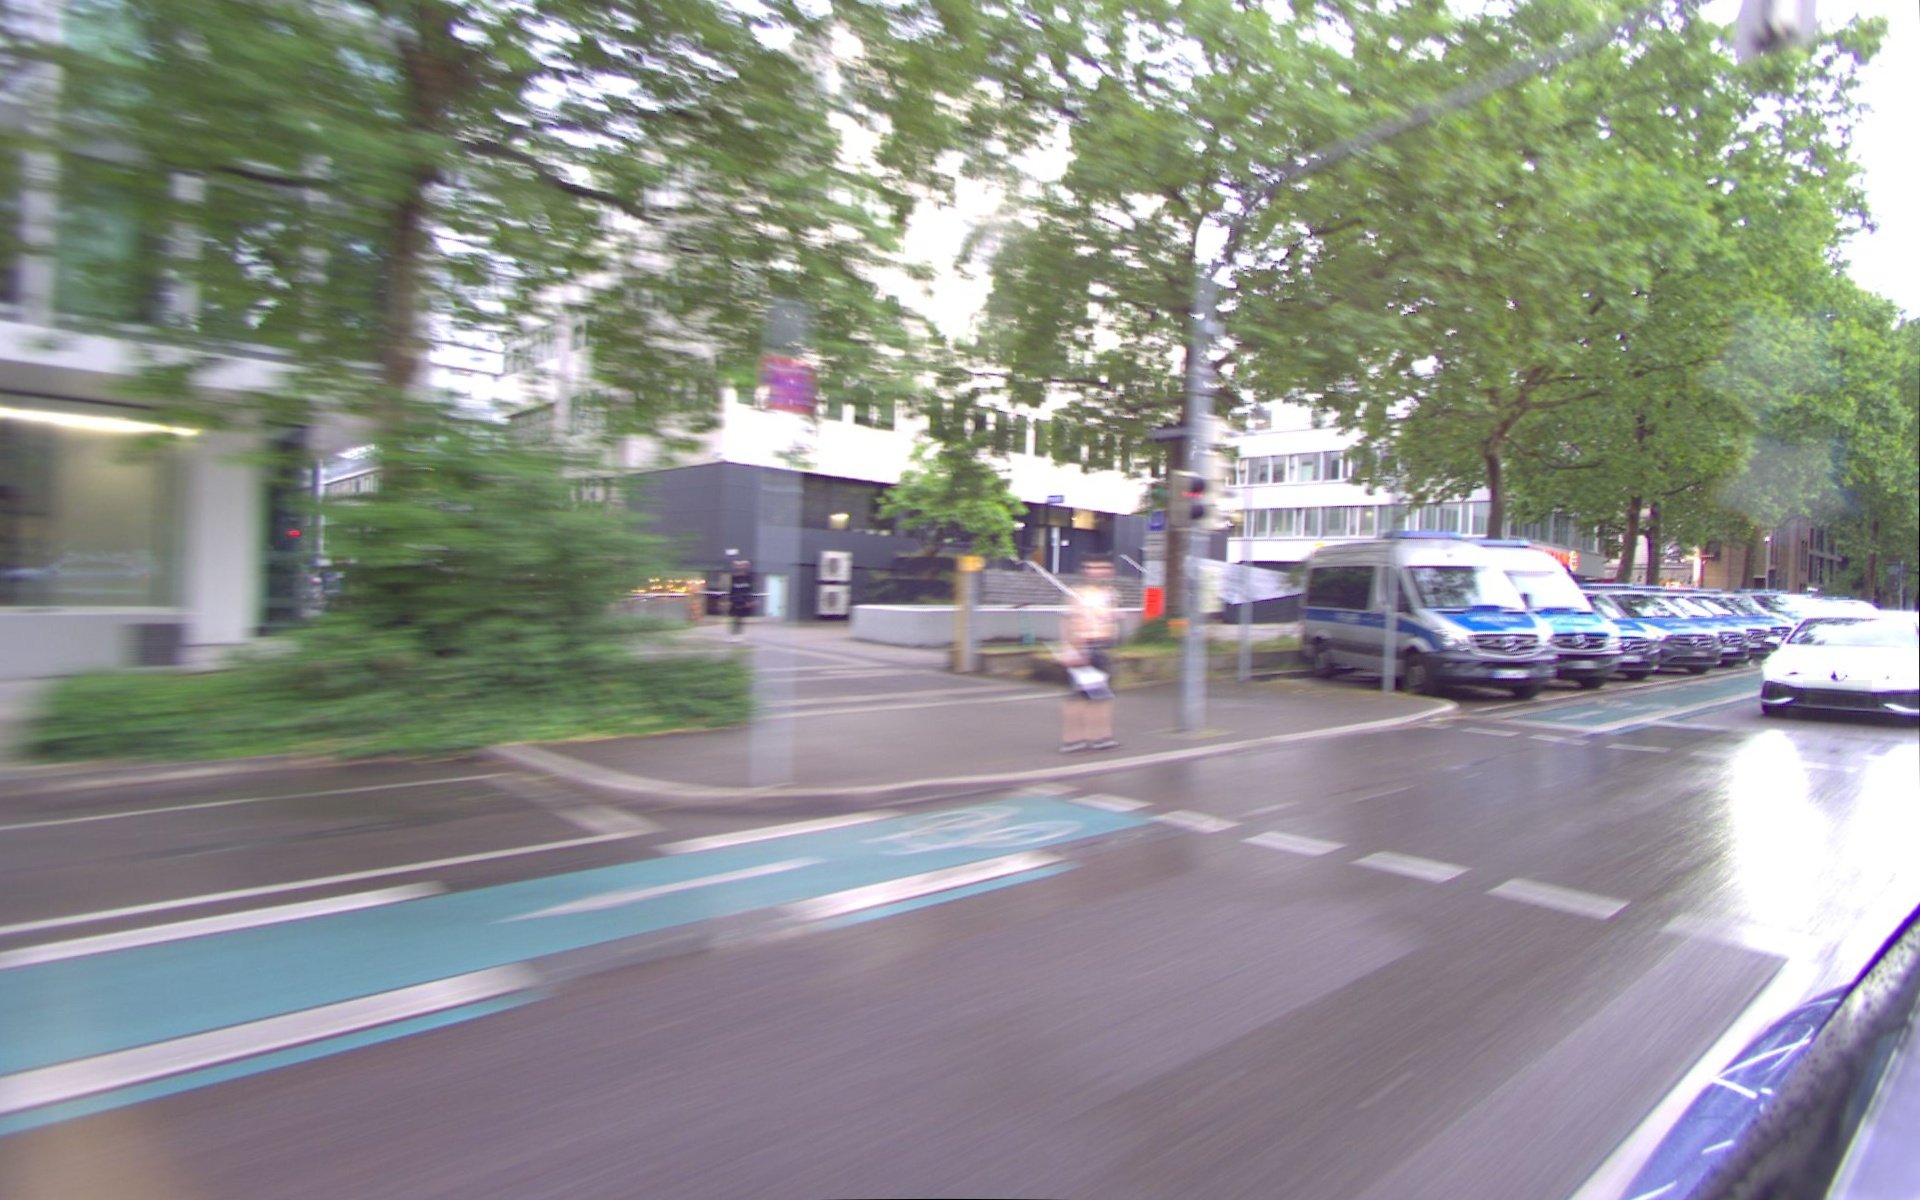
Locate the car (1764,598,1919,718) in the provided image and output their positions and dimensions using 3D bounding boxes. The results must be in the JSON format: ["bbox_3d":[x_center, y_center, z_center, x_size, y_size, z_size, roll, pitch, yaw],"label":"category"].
[{"bbox_3d":[12.883,0.730,14.209,4.433,1.464,1.863,1,-2,-44],"label":"car"}]

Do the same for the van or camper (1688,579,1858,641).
[{"bbox_3d":[28.468,0.317,35.674,1.831,2.023,4.858,1,0,-4],"label":"van or camper"}]

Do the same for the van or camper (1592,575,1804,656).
[{"bbox_3d":[20.651,0.365,28.667,2.065,2.050,5.111,1,1,-3],"label":"van or camper"}]

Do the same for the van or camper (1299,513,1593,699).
[{"bbox_3d":[8.127,0.052,17.797,2.105,2.711,5.820,1,1,-3],"label":"van or camper"}]

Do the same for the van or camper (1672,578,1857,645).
[{"bbox_3d":[26.085,0.329,33.083,1.960,2.036,4.799,0,1,-4],"label":"van or camper"}]

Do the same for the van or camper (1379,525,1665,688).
[{"bbox_3d":[10.658,0.058,19.921,1.960,2.714,5.818,1,1,-5],"label":"van or camper"}]

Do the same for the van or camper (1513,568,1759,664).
[{"bbox_3d":[15.748,0.320,24.025,1.960,2.017,5.215,0,0,-6],"label":"van or camper"}]

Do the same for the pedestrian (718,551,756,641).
[{"bbox_3d":[-5.158,-0.111,23.393,0.754,2.038,0.705,0,2,-21],"label":"pedestrian"}]

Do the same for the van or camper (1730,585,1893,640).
[{"bbox_3d":[33.646,0.488,40.241,1.957,2.045,5.091,0,0,-4],"label":"van or camper"}]

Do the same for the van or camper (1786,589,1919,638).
[{"bbox_3d":[39.083,0.555,44.097,1.963,2.017,4.949,0,0,-2],"label":"van or camper"}]

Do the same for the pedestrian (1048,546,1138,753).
[{"bbox_3d":[1.247,0.438,9.479,0.605,1.854,0.556,1,0,41],"label":"pedestrian"}]

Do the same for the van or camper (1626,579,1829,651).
[{"bbox_3d":[23.362,0.386,31.125,1.959,2.020,5.032,1,1,-8],"label":"van or camper"}]

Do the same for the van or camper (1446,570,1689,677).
[{"bbox_3d":[12.880,0.387,21.946,1.960,2.039,5.022,0,1,-5],"label":"van or camper"}]
